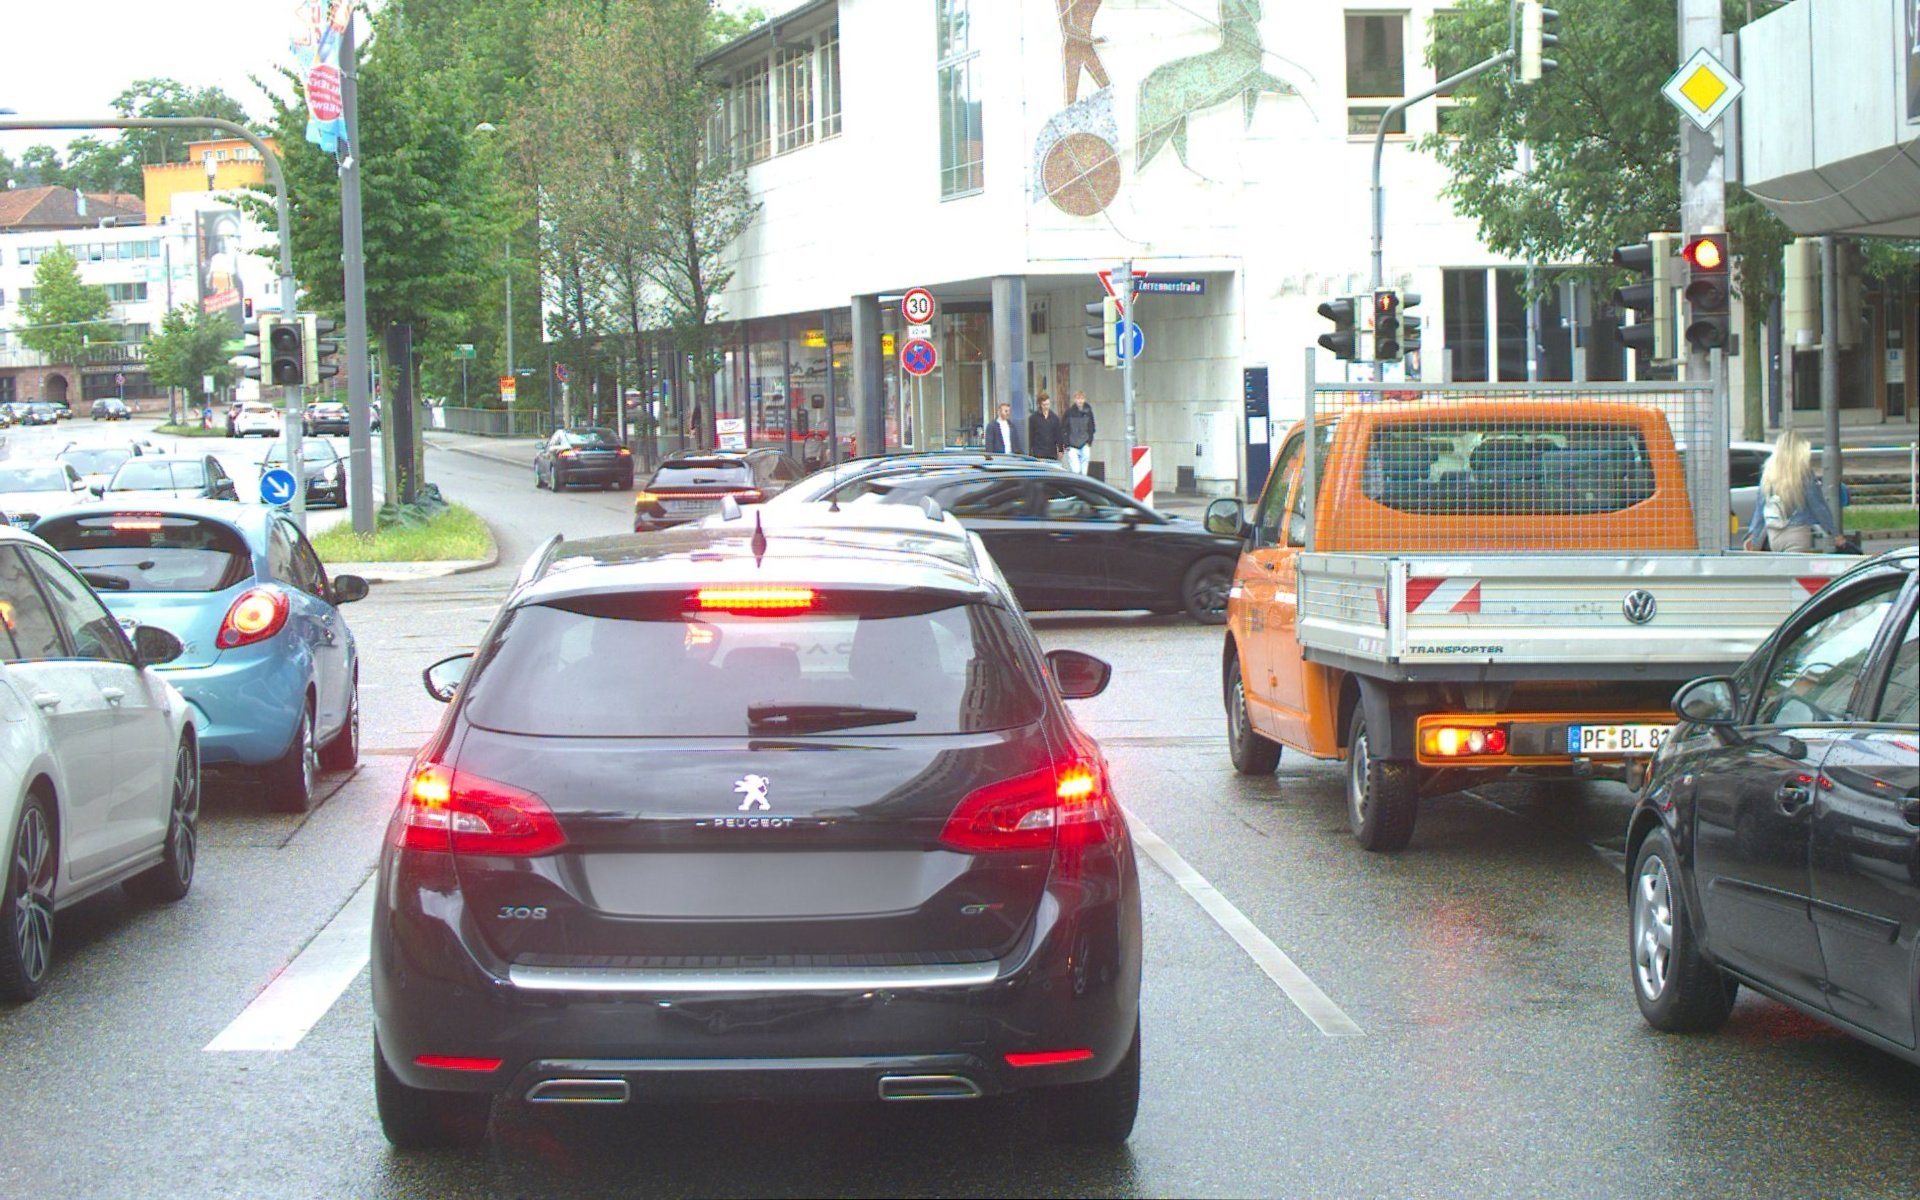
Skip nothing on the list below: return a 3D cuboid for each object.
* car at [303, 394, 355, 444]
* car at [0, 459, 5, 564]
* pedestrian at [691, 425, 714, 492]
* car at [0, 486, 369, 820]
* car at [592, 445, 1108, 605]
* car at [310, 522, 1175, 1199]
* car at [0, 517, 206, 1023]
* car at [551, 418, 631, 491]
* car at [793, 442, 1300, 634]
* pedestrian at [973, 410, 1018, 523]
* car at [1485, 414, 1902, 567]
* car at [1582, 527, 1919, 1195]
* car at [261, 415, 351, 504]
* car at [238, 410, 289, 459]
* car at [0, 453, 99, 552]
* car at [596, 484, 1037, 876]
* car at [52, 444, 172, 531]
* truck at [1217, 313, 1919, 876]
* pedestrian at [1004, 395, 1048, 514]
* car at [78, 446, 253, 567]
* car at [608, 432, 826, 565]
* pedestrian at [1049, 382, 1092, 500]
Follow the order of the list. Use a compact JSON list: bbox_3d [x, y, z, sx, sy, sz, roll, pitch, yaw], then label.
[{"bbox_3d":[-27.022,-7.744,147.170,1.705,1.929,4.001,1,0,-18],"label":"car"},{"bbox_3d":[-14.252,-1.194,47.021,1.574,1.481,3.610,0,2,-4],"label":"car"},{"bbox_3d":[-6.799,-3.732,90.718,0.468,1.742,0.541,1,0,-21],"label":"pedestrian"},{"bbox_3d":[-3.964,0.186,17.433,1.632,1.481,3.610,0,2,-5],"label":"car"},{"bbox_3d":[-1.081,-0.724,33.014,4.721,1.481,1.639,0,2,-13],"label":"car"},{"bbox_3d":[-0.533,0.531,9.033,1.777,1.424,3.843,0,2,-3],"label":"car"},{"bbox_3d":[-3.732,0.451,11.443,1.777,1.424,3.843,0,2,-3],"label":"car"},{"bbox_3d":[-8.674,-3.380,80.559,1.724,1.485,4.734,1,0,-8],"label":"car"},{"bbox_3d":[0.738,-0.575,30.688,4.226,1.559,1.705,-2,2,-11],"label":"car"},{"bbox_3d":[0.561,-2.113,54.442,0.637,1.752,0.733,0,0,6],"label":"pedestrian"},{"bbox_3d":[7.570,-1.103,35.583,3.894,1.481,1.624,1,0,-12],"label":"car"},{"bbox_3d":[2.838,0.555,8.660,1.616,1.424,3.843,0,2,-3],"label":"car"},{"bbox_3d":[-13.364,-2.840,70.216,1.744,1.634,4.001,1,0,-11],"label":"car"},{"bbox_3d":[-29.594,-6.999,145.986,1.705,1.875,4.001,1,0,-18],"label":"car"},{"bbox_3d":[-14.606,-1.556,54.044,1.632,1.481,3.611,0,2,-7],"label":"car"},{"bbox_3d":[-0.585,0.249,15.220,1.696,1.481,3.794,1,2,-1],"label":"car"},{"bbox_3d":[-15.064,-2.016,61.184,1.632,1.481,3.611,0,2,-7],"label":"car"},{"bbox_3d":[2.583,-0.118,15.841,2.177,2.165,5.021,1,2,-3],"label":"truck"},{"bbox_3d":[1.071,-2.357,55.698,0.637,1.891,0.733,0,0,6],"label":"pedestrian"},{"bbox_3d":[-11.007,-1.265,47.856,1.744,1.574,4.000,1,0,-4],"label":"car"},{"bbox_3d":[-3.064,-1.345,44.323,1.788,1.449,4.506,-2,4,9],"label":"car"},{"bbox_3d":[1.798,-2.574,55.765,0.637,1.891,0.733,0,0,6],"label":"pedestrian"}]
